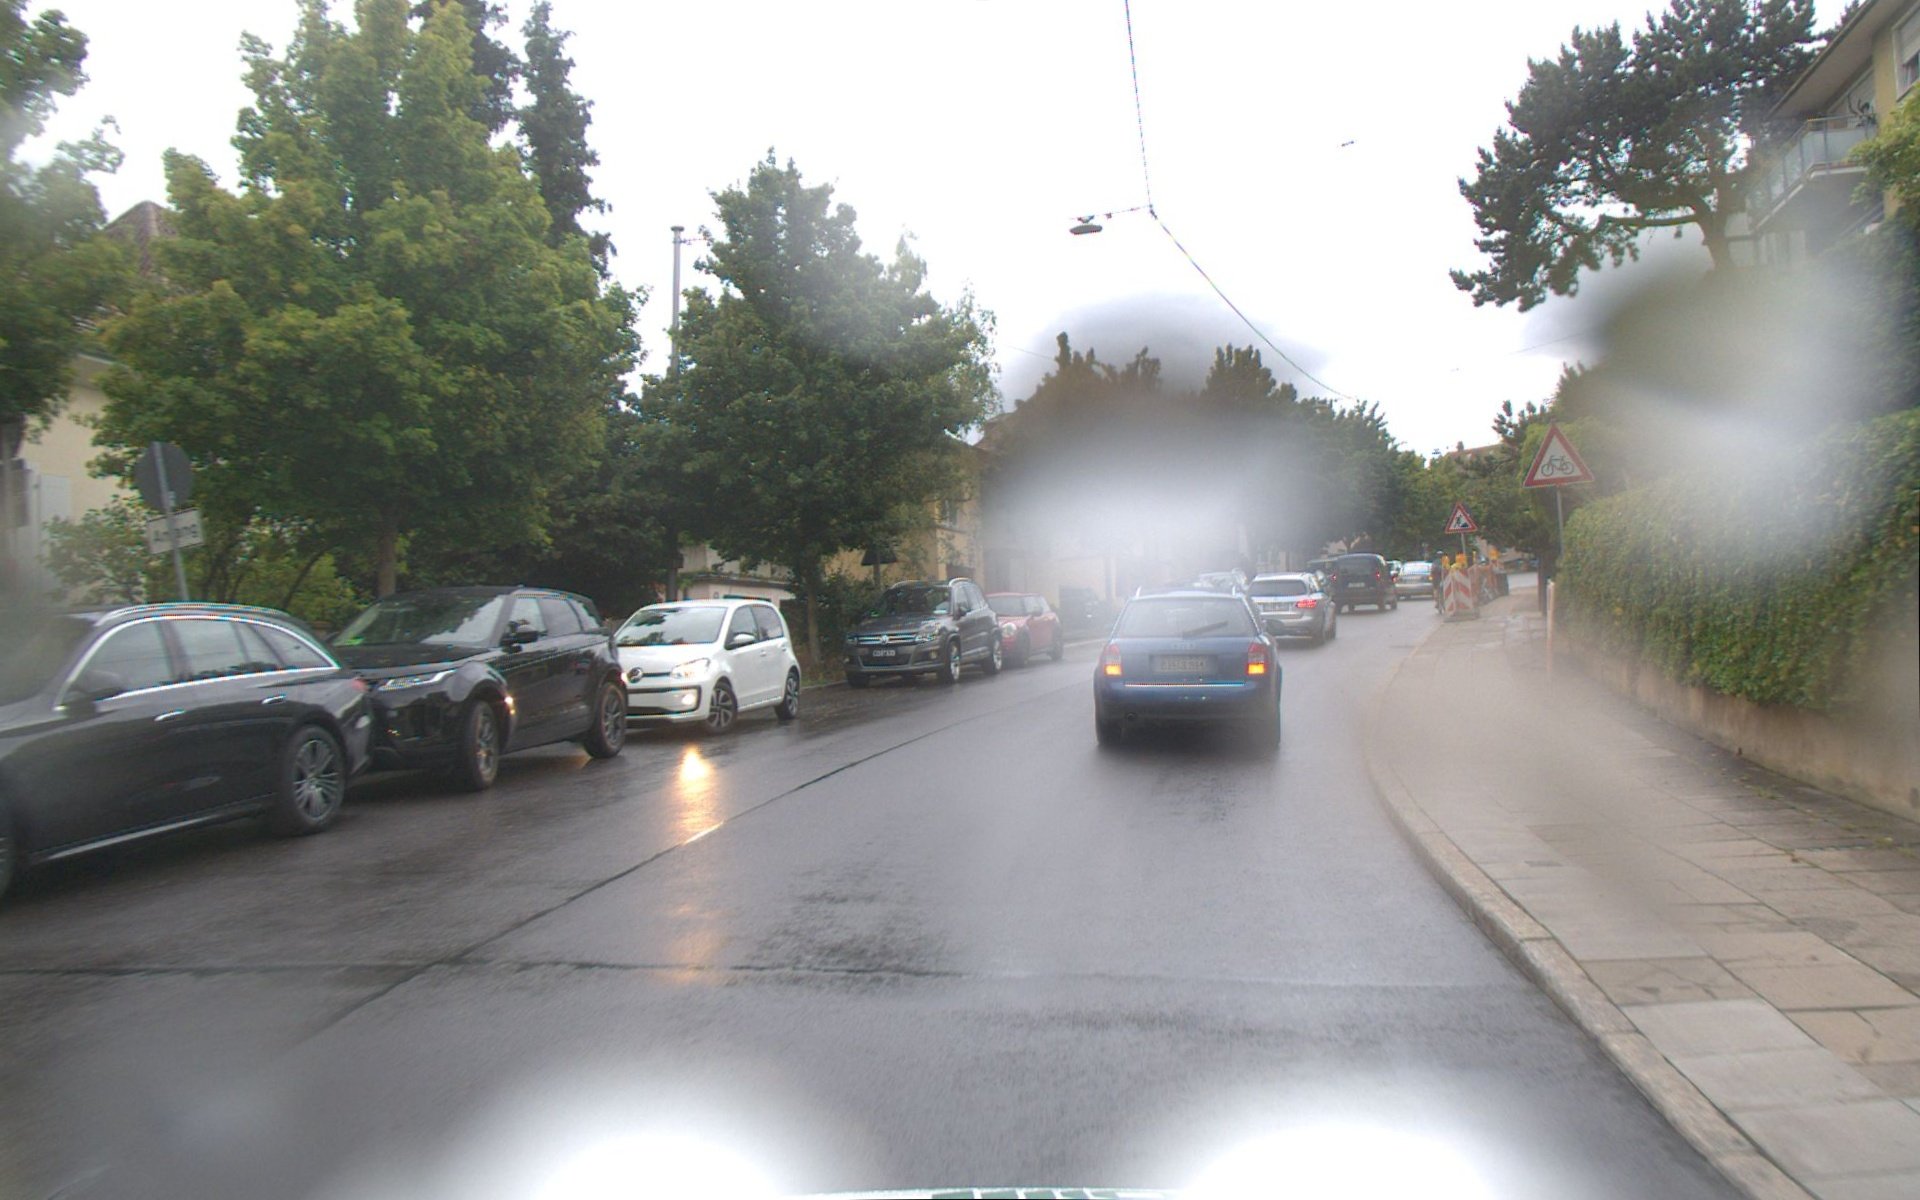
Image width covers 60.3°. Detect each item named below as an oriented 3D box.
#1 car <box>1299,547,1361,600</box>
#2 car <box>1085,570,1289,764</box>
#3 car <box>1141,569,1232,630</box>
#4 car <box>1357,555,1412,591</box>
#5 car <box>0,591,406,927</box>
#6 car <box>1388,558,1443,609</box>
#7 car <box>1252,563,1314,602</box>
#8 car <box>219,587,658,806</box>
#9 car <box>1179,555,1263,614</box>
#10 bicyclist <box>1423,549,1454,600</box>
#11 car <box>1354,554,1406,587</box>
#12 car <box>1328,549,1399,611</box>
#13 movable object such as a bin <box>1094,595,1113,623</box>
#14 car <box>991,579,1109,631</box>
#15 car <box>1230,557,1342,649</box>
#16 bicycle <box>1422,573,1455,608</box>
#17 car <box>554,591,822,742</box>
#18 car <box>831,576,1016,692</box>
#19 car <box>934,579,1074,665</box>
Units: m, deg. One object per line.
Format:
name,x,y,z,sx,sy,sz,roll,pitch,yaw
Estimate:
car,16.959,-1.227,75.590,1.756,2.084,4.782,-7,0,23
car,2.327,0.557,16.223,1.696,1.491,4.005,-2,3,11
car,6.906,-0.053,50.070,1.731,1.561,4.607,-5,0,19
car,22.520,-1.446,87.586,1.734,1.655,4.685,-5,-1,27
car,-5.185,0.763,9.256,1.827,1.572,4.909,-2,0,9
car,18.253,-0.684,66.145,1.698,1.799,4.237,-1,3,21
car,13.912,-0.774,71.141,1.732,1.461,4.347,-5,0,22
car,-4.224,0.705,14.180,1.696,1.572,4.214,-2,0,12
car,8.754,-0.558,55.287,1.733,1.662,4.110,-7,-1,22
bicyclist,14.326,-0.765,49.516,0.710,1.498,0.886,-3,0,23
car,30.131,-2.125,118.583,3.151,1.769,1.478,-11,-2,28
car,13.190,-0.681,53.893,1.698,1.799,4.237,-1,3,21
movable object such as a bin,5.562,0.365,63.942,0.574,1.041,0.586,-2,1,19
car,3.394,0.183,62.190,3.970,1.674,1.863,-4,0,22
car,6.954,0.017,34.942,1.933,1.663,4.239,-1,3,16
bicycle,14.327,-0.288,49.474,0.715,0.981,1.670,-2,1,23
car,-3.014,0.692,19.217,1.696,1.492,4.004,-2,1,12
car,-0.516,0.505,27.858,1.763,1.697,4.429,-4,0,16
car,0.941,0.392,32.753,1.647,1.497,3.867,-4,0,18
